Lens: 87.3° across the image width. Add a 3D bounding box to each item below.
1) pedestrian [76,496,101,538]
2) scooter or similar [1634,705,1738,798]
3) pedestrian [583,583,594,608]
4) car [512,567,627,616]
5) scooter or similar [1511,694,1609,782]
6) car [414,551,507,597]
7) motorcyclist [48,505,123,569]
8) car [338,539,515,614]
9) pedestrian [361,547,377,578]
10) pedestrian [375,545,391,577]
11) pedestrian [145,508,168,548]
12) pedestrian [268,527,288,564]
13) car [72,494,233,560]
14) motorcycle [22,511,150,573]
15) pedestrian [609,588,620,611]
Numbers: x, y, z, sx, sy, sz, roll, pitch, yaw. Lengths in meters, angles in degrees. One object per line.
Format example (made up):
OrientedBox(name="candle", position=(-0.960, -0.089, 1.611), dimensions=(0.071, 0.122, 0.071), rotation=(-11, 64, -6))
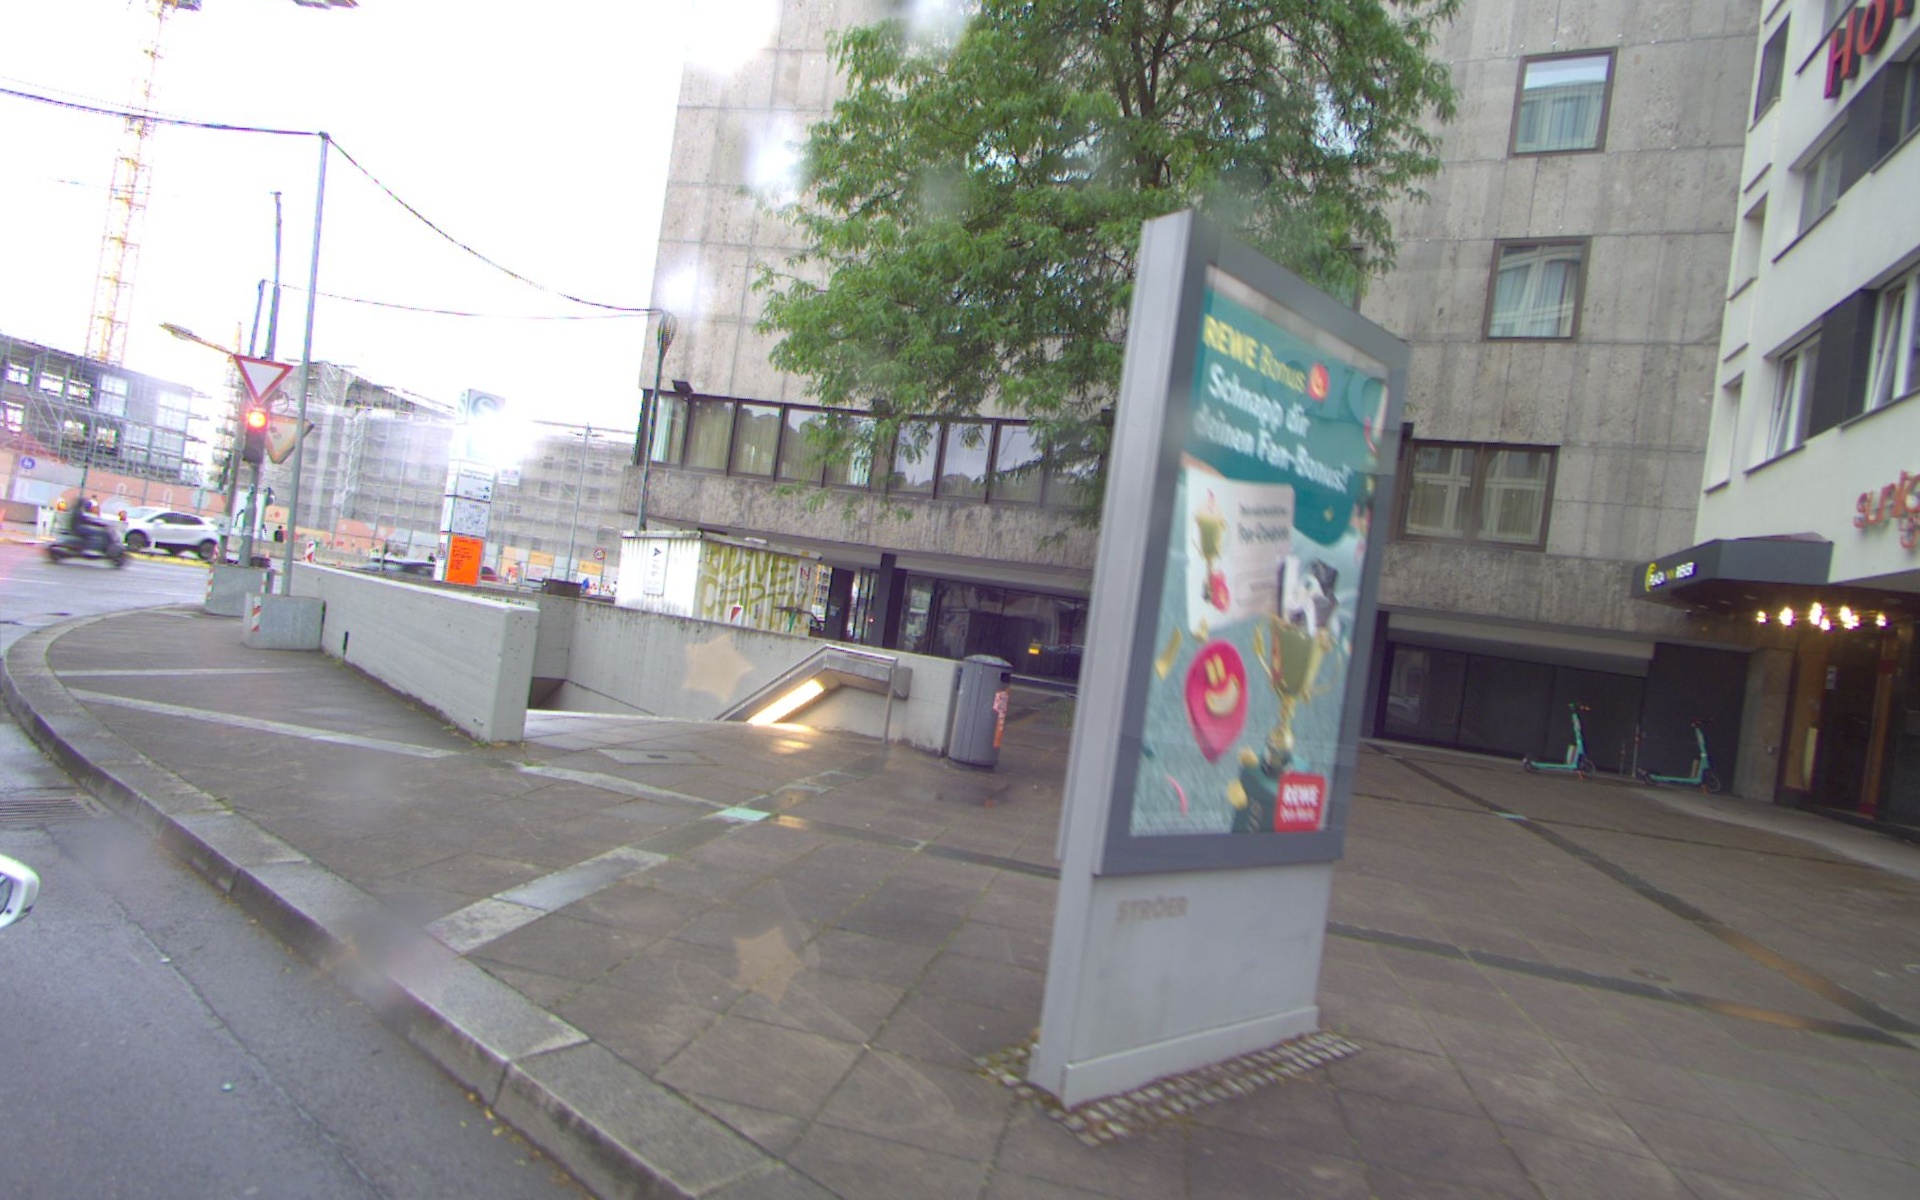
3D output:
OrientedBox(name="pedestrian", position=(-42.088, -3.994, 48.591), dimensions=(0.355, 1.919, 0.577), rotation=(7, -2, 21))
OrientedBox(name="scooter or similar", position=(12.211, 2.527, 16.947), dimensions=(1.208, 1.352, 0.520), rotation=(7, -2, 19))
OrientedBox(name="pedestrian", position=(-30.657, -0.366, 83.075), dimensions=(0.355, 1.919, 0.577), rotation=(7, -2, 21))
OrientedBox(name="car", position=(-15.918, -0.305, 41.218), dimensions=(1.964, 1.359, 4.115), rotation=(6, -3, 24))
OrientedBox(name="scooter or similar", position=(10.129, 2.313, 17.012), dimensions=(1.208, 1.269, 0.565), rotation=(7, 1, 19))
OrientedBox(name="car", position=(-25.600, -1.292, 51.698), dimensions=(1.962, 1.727, 4.007), rotation=(7, -3, 15))
OrientedBox(name="motorcyclist", position=(-21.473, -1.539, 24.712), dimensions=(0.833, 1.373, 0.949), rotation=(7, -2, 19))
OrientedBox(name="car", position=(-15.742, -0.646, 29.901), dimensions=(1.966, 1.523, 4.111), rotation=(6, -3, 30))
OrientedBox(name="pedestrian", position=(-38.179, -2.442, 65.022), dimensions=(0.355, 1.919, 0.577), rotation=(7, -2, 21))
OrientedBox(name="pedestrian", position=(-35.554, -2.394, 61.982), dimensions=(0.355, 1.919, 0.577), rotation=(7, -2, 21))
OrientedBox(name="pedestrian", position=(-40.837, -3.668, 51.144), dimensions=(0.355, 1.919, 0.577), rotation=(7, -2, 21))
OrientedBox(name="pedestrian", position=(-37.525, -2.985, 55.342), dimensions=(0.355, 1.919, 0.577), rotation=(7, -2, 21))
OrientedBox(name="car", position=(-28.907, -2.566, 36.193), dimensions=(1.962, 1.569, 4.061), rotation=(7, -3, 13))
OrientedBox(name="motorcycle", position=(-21.463, -1.404, 24.778), dimensions=(0.835, 1.120, 2.146), rotation=(7, -3, 20))
OrientedBox(name="pedestrian", position=(-29.076, -0.050, 84.714), dimensions=(0.355, 1.919, 0.577), rotation=(7, -2, 21))
